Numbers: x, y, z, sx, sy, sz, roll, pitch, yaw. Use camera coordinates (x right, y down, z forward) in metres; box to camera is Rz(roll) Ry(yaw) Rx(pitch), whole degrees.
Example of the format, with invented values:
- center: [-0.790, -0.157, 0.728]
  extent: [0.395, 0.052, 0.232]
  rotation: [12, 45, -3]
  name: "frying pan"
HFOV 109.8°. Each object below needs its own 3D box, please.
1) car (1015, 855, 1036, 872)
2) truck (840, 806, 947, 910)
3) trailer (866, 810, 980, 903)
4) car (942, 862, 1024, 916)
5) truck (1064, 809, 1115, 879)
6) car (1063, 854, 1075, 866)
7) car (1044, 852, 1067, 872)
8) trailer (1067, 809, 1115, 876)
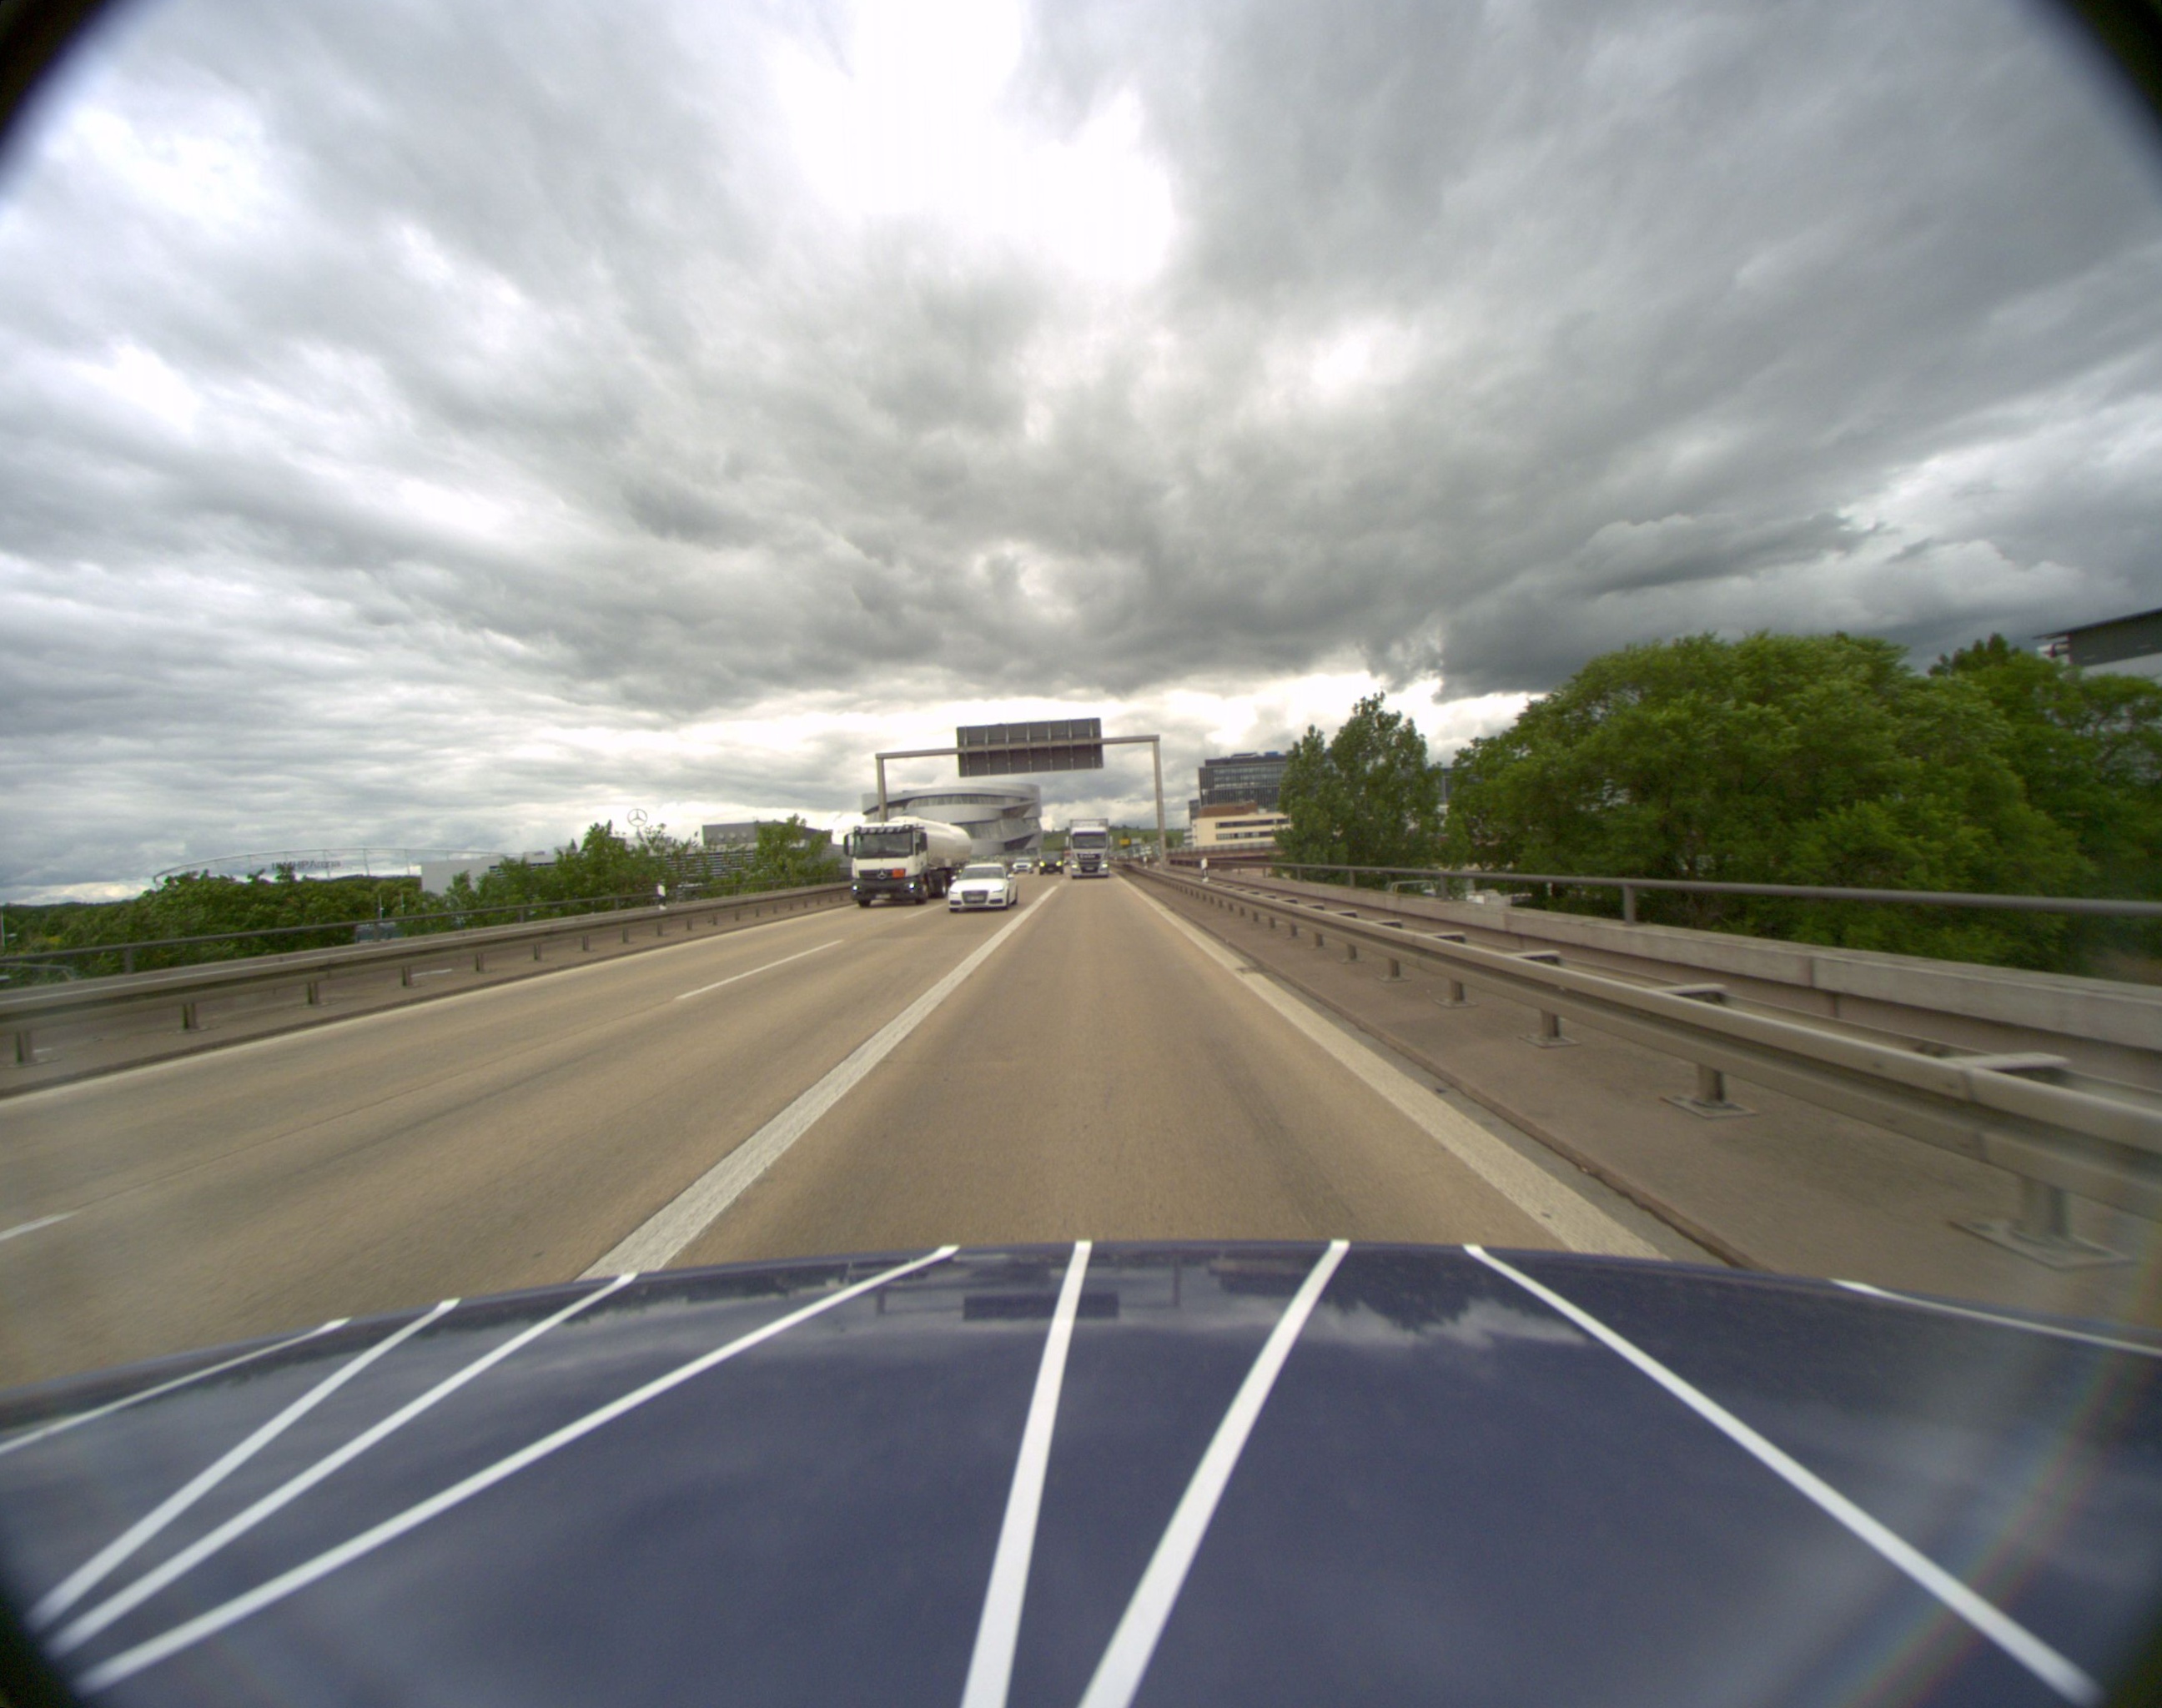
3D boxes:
- center: [-5.585, 0.922, 76.900]
  extent: [1.785, 1.624, 3.627]
  rotation: [-2, 1, 1]
  name: "car"
- center: [-6.928, 0.095, 28.775]
  extent: [2.637, 3.494, 4.903]
  rotation: [-3, 1, 1]
  name: "truck"
- center: [-6.863, 0.056, 35.067]
  extent: [2.657, 3.523, 11.219]
  rotation: [-2, 0, 1]
  name: "trailer"
- center: [-2.993, 1.035, 24.024]
  extent: [1.848, 1.443, 3.933]
  rotation: [-2, 0, 3]
  name: "car"
- center: [0.616, -0.632, 49.538]
  extent: [2.946, 4.136, 6.291]
  rotation: [-2, 0, 1]
  name: "truck"
- center: [-2.156, 1.053, 137.986]
  extent: [1.998, 2.002, 4.000]
  rotation: [-2, 1, 1]
  name: "car"
- center: [-2.166, 0.708, 66.199]
  extent: [1.765, 1.624, 3.627]
  rotation: [-2, 1, 1]
  name: "car"
- center: [0.712, -0.744, 53.736]
  extent: [2.880, 4.104, 11.220]
  rotation: [-2, 0, 1]
  name: "trailer"
